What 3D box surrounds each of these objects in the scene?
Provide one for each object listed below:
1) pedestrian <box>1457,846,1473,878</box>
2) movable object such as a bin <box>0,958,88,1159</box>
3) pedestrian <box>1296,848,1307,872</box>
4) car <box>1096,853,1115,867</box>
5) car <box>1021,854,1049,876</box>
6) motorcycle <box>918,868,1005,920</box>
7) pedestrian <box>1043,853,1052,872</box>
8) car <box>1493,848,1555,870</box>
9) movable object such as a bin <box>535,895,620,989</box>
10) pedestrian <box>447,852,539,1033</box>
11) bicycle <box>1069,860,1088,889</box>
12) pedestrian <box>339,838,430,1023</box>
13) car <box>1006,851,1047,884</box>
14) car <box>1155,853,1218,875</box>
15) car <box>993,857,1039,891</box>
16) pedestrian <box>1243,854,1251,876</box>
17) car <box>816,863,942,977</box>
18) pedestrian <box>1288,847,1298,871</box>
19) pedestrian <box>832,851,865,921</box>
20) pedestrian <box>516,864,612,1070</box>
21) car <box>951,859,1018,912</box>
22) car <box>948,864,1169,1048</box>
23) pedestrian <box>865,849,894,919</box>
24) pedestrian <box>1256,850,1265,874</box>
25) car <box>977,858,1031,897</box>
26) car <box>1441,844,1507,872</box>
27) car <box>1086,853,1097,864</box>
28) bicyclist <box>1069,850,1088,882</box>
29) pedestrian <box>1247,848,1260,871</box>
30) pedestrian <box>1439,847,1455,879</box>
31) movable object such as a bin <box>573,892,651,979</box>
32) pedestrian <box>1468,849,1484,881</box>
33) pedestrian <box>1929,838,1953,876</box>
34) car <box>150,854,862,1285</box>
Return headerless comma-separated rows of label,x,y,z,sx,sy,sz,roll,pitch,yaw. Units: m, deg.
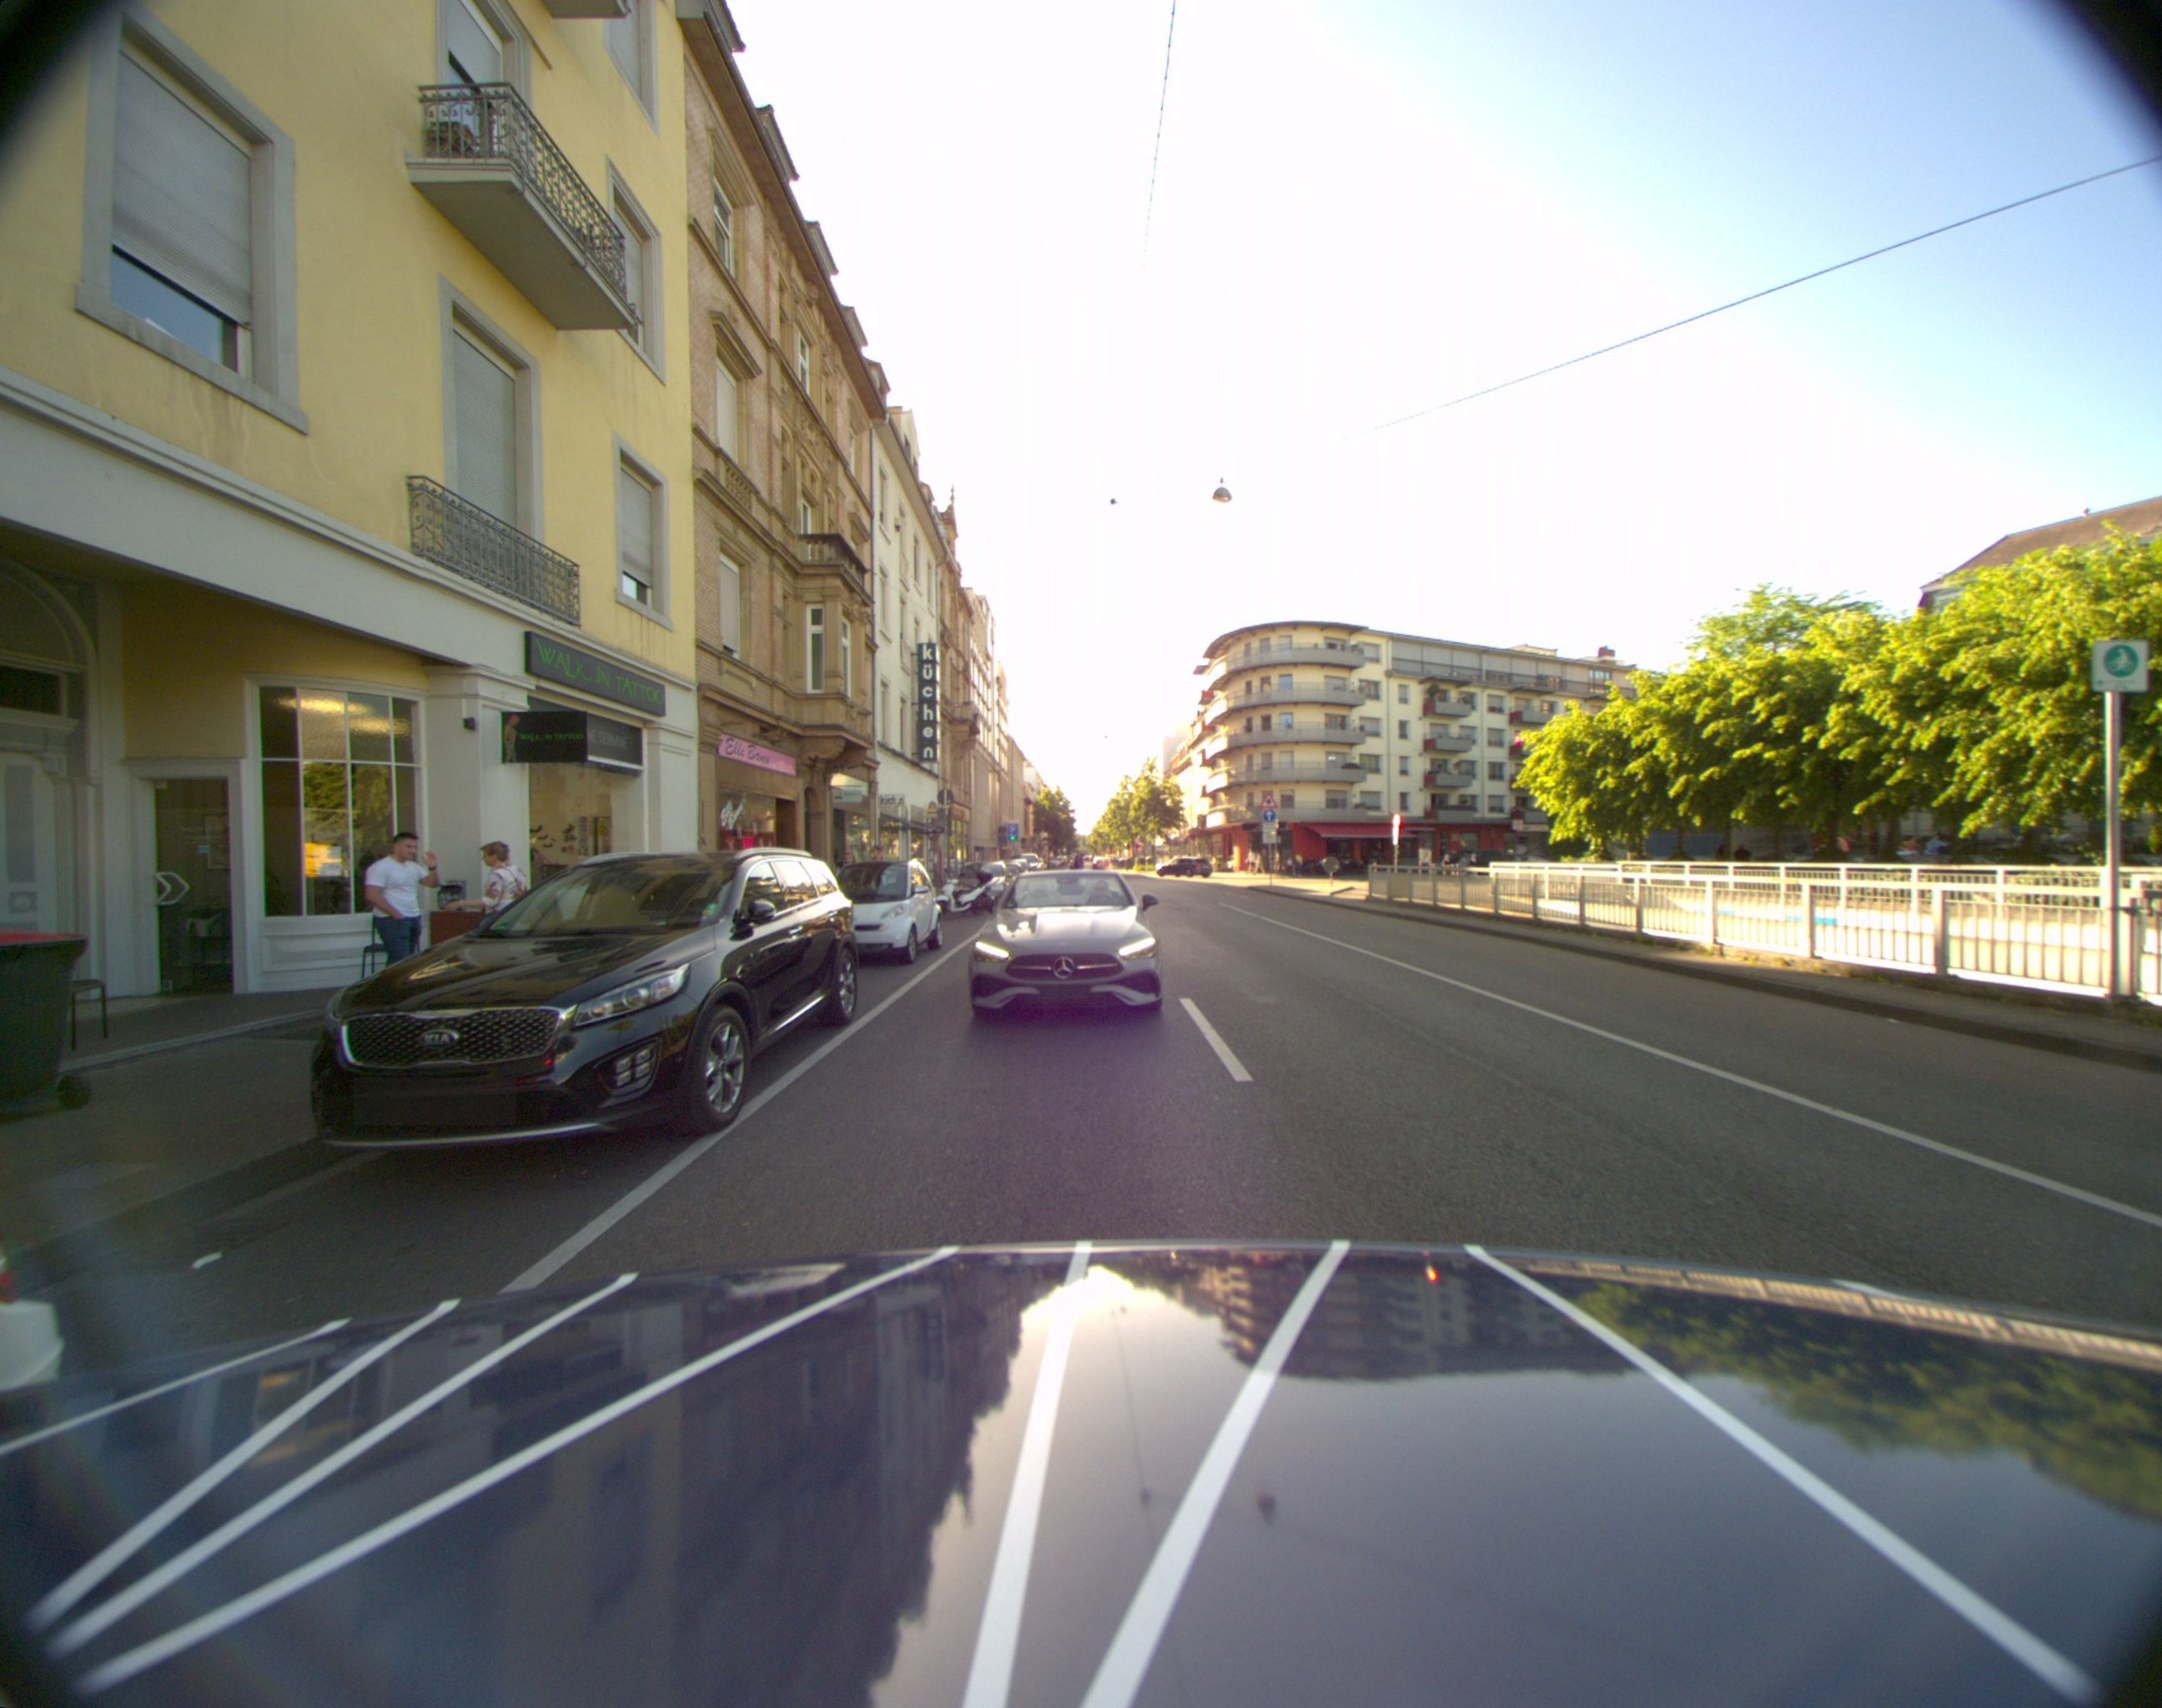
pedestrian,21.629,0.473,42.802,0.602,1.782,0.581,-3,2,-45
movable object such as a bin,-6.140,1.125,4.132,0.669,1.019,0.619,2,1,3
pedestrian,15.494,0.402,53.336,0.575,1.698,0.642,-1,1,3
car,2.469,0.581,77.116,1.895,1.388,4.256,-1,0,1
car,-3.525,0.844,58.731,1.895,1.595,4.049,-2,0,0
motorcycle,-3.221,1.057,20.641,2.178,1.272,0.866,-2,1,-42
pedestrian,-2.843,0.721,64.240,0.774,1.606,0.696,-2,1,-3
car,34.302,0.371,58.832,4.300,1.611,1.952,-2,0,-23
movable object such as a bin,-6.150,1.059,9.306,0.606,1.060,0.619,2,1,1
pedestrian,-5.640,0.809,7.299,0.450,1.651,0.594,1,1,38
bicycle,-0.091,0.915,34.536,0.798,1.226,1.773,-2,0,1
pedestrian,-6.468,0.679,7.071,0.337,1.651,0.525,0,1,26
car,-2.960,0.717,41.828,1.895,1.680,4.049,-1,0,0
car,7.065,0.645,51.307,1.811,1.388,3.915,-2,0,-42
car,-2.970,0.883,35.198,1.737,1.409,3.802,-2,0,0
pedestrian,11.834,0.767,54.171,0.376,1.521,0.516,-2,1,-11
car,-3.060,0.937,11.956,1.275,1.509,2.794,-2,0,-2
pedestrian,15.120,0.377,54.157,0.575,1.698,0.642,-1,1,3
pedestrian,-5.481,0.744,17.942,0.618,1.623,0.462,-2,1,-8
pedestrian,-4.596,0.976,6.777,0.434,1.752,0.481,-2,1,1
car,-3.044,0.957,24.798,1.737,1.509,4.164,-2,0,-2
car,-0.177,0.902,8.658,1.848,1.440,4.373,-2,0,0
pedestrian,-4.801,0.700,18.078,0.516,1.623,0.413,-2,1,-34
pedestrian,12.809,0.577,54.331,0.442,1.663,0.516,-2,1,-7
car,-3.058,0.911,30.929,1.737,1.409,3.802,-2,0,0
car,29.213,0.301,56.489,4.432,1.901,1.952,-2,1,-23
car,2.102,0.930,147.286,1.998,2.002,4.000,-2,1,1
bicyclist,-0.098,0.534,34.480,0.798,1.426,1.008,-2,1,1
pedestrian,12.303,0.407,54.244,0.571,1.612,0.792,-2,1,-10
pedestrian,20.500,0.491,42.568,0.602,1.782,0.581,-3,2,-45
movable object such as a bin,-6.125,1.052,9.953,0.606,1.060,0.619,2,1,1
pedestrian,22.386,0.597,43.093,0.602,1.782,0.581,-3,1,-40
pedestrian,41.365,0.133,36.543,0.602,1.782,0.582,-2,1,-20
car,-3.028,0.889,5.455,1.760,1.726,4.571,-2,0,-3
